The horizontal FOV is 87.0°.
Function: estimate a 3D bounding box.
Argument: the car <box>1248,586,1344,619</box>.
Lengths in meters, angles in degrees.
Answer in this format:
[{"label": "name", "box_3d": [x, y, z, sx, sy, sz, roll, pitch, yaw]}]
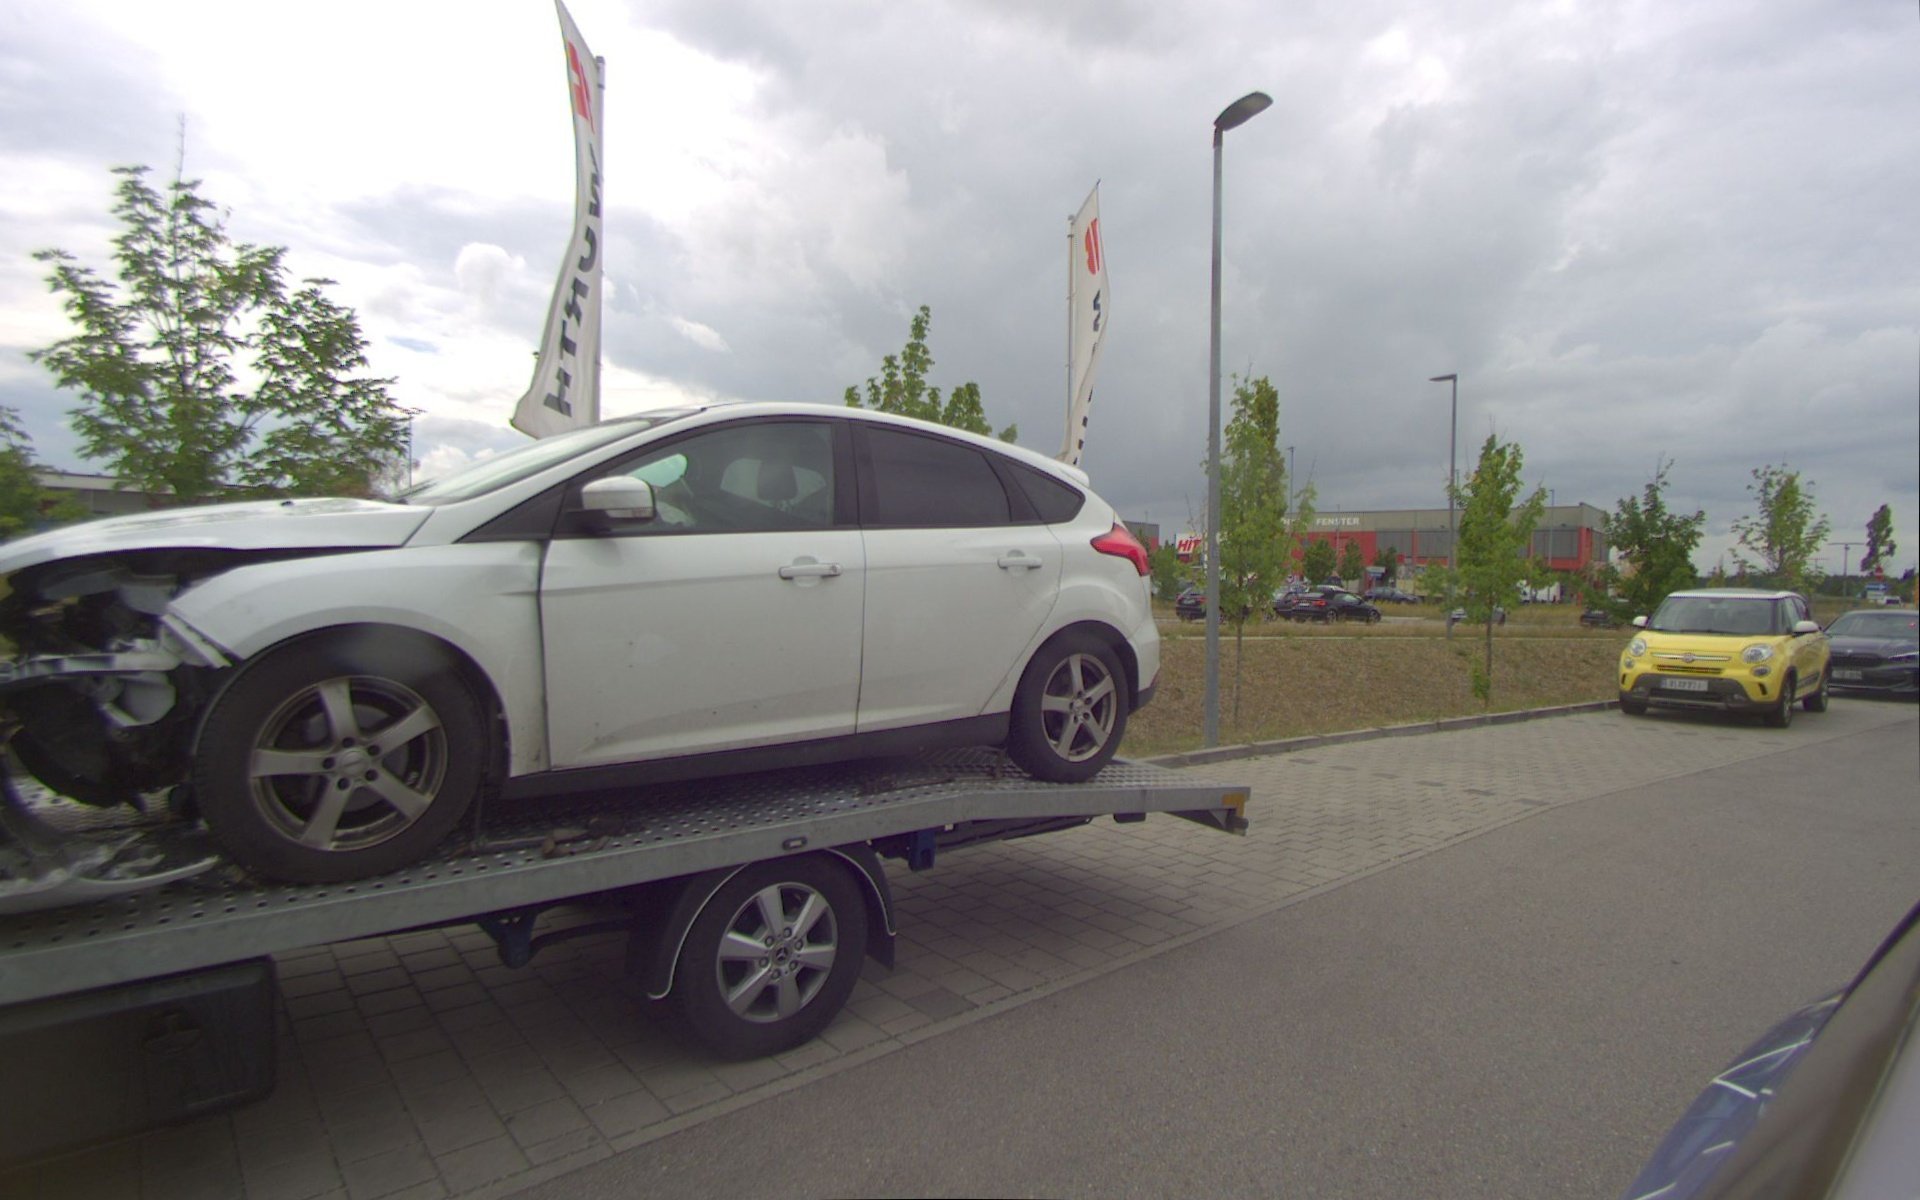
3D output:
[{"label": "car", "box_3d": [15.141, 0.090, 45.581, 4.285, 1.413, 1.792, 0, 1, -32]}]

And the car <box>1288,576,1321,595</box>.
[{"label": "car", "box_3d": [32.581, -1.389, 95.624, 1.754, 1.674, 3.784, 2, 2, 38]}]

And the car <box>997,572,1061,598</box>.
[{"label": "car", "box_3d": [4.081, -0.914, 60.702, 1.743, 1.494, 4.002, 1, 1, -33]}]

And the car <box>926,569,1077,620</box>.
[{"label": "car", "box_3d": [1.405, -0.181, 32.974, 4.792, 1.527, 1.811, 0, 2, -36]}]

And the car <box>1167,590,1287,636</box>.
[{"label": "car", "box_3d": [10.003, 0.462, 37.797, 4.250, 1.588, 1.911, 1, 1, -32]}]

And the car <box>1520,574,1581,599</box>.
[{"label": "car", "box_3d": [52.254, -1.197, 89.567, 4.420, 2.149, 1.971, 1, 1, 41]}]

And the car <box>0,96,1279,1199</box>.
[{"label": "car", "box_3d": [-2.309, 0.157, 3.055, 7.712, 2.351, 2.200, 0, 2, -38]}]

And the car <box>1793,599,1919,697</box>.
[{"label": "car", "box_3d": [15.731, 0.724, 16.832, 4.223, 1.433, 1.753, 0, 1, -34]}]

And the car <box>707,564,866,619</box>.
[{"label": "car", "box_3d": [-4.937, -0.267, 29.037, 4.173, 1.468, 1.799, 0, 2, -39]}]

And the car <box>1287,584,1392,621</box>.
[{"label": "car", "box_3d": [15.533, 0.107, 41.401, 3.919, 1.415, 1.912, 1, 1, -30]}]

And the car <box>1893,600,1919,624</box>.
[{"label": "car", "box_3d": [65.667, 0.851, 68.974, 4.284, 1.534, 2.002, 1, 1, -33]}]

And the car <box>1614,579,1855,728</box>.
[{"label": "car", "box_3d": [10.529, 0.608, 13.643, 4.223, 1.704, 1.750, 0, 1, -41]}]

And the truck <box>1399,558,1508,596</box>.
[{"label": "truck", "box_3d": [40.734, -1.908, 83.619, 8.013, 2.982, 2.685, 1, 1, -10]}]

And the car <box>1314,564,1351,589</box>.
[{"label": "car", "box_3d": [34.512, -2.169, 93.758, 2.015, 2.232, 4.290, 2, 2, 38]}]

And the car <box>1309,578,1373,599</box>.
[{"label": "car", "box_3d": [27.864, -0.828, 74.137, 1.962, 1.460, 4.000, 1, 1, -35]}]

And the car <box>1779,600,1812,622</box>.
[{"label": "car", "box_3d": [67.343, 0.870, 81.574, 1.991, 1.697, 3.943, 2, 1, 40]}]

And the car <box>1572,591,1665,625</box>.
[{"label": "car", "box_3d": [28.953, 0.353, 44.454, 3.919, 1.371, 1.762, 1, 1, -29]}]

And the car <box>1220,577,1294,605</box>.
[{"label": "car", "box_3d": [17.211, -0.524, 58.836, 1.959, 1.549, 4.006, 1, 1, -27]}]

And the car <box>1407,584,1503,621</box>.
[{"label": "car", "box_3d": [21.894, 0.105, 44.732, 3.918, 1.513, 1.826, 1, 1, -28]}]

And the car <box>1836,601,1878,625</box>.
[{"label": "car", "box_3d": [72.907, 1.036, 82.233, 3.928, 1.837, 1.906, 1, 1, -39]}]
